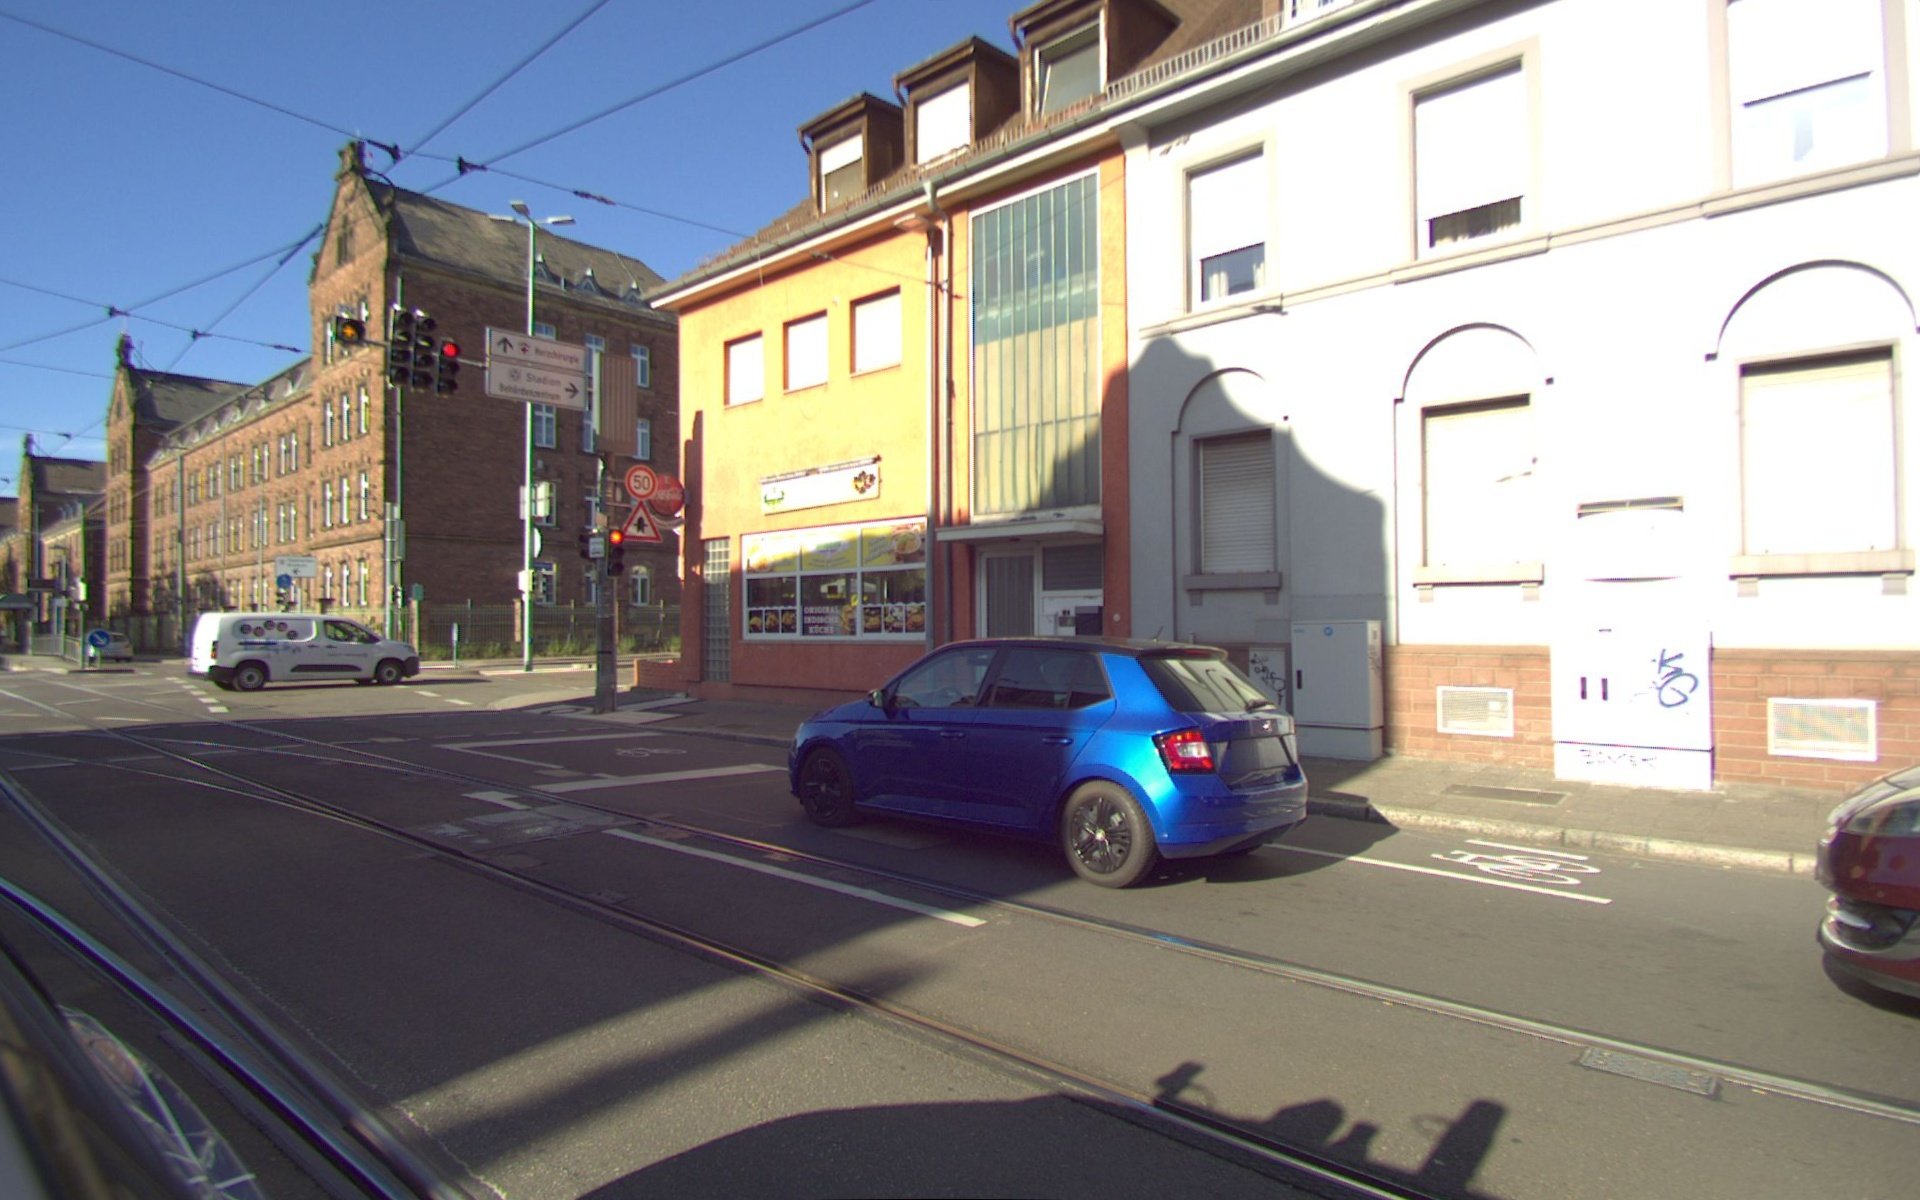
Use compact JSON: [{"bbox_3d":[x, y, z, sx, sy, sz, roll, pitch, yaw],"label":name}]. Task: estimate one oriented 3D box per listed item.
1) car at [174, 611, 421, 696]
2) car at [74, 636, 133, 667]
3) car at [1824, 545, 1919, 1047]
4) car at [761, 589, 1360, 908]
[{"bbox_3d":[-15.883,1.216,24.484,1.857,1.812,4.635,1,0,40],"label":"car"},{"bbox_3d":[-42.045,2.499,49.646,4.114,1.454,1.718,-2,-2,42],"label":"car"},{"bbox_3d":[5.245,0.615,2.435,4.715,1.623,1.719,-2,-3,44],"label":"car"},{"bbox_3d":[0.479,0.817,7.006,3.929,1.579,1.665,-2,-4,44],"label":"car"}]
